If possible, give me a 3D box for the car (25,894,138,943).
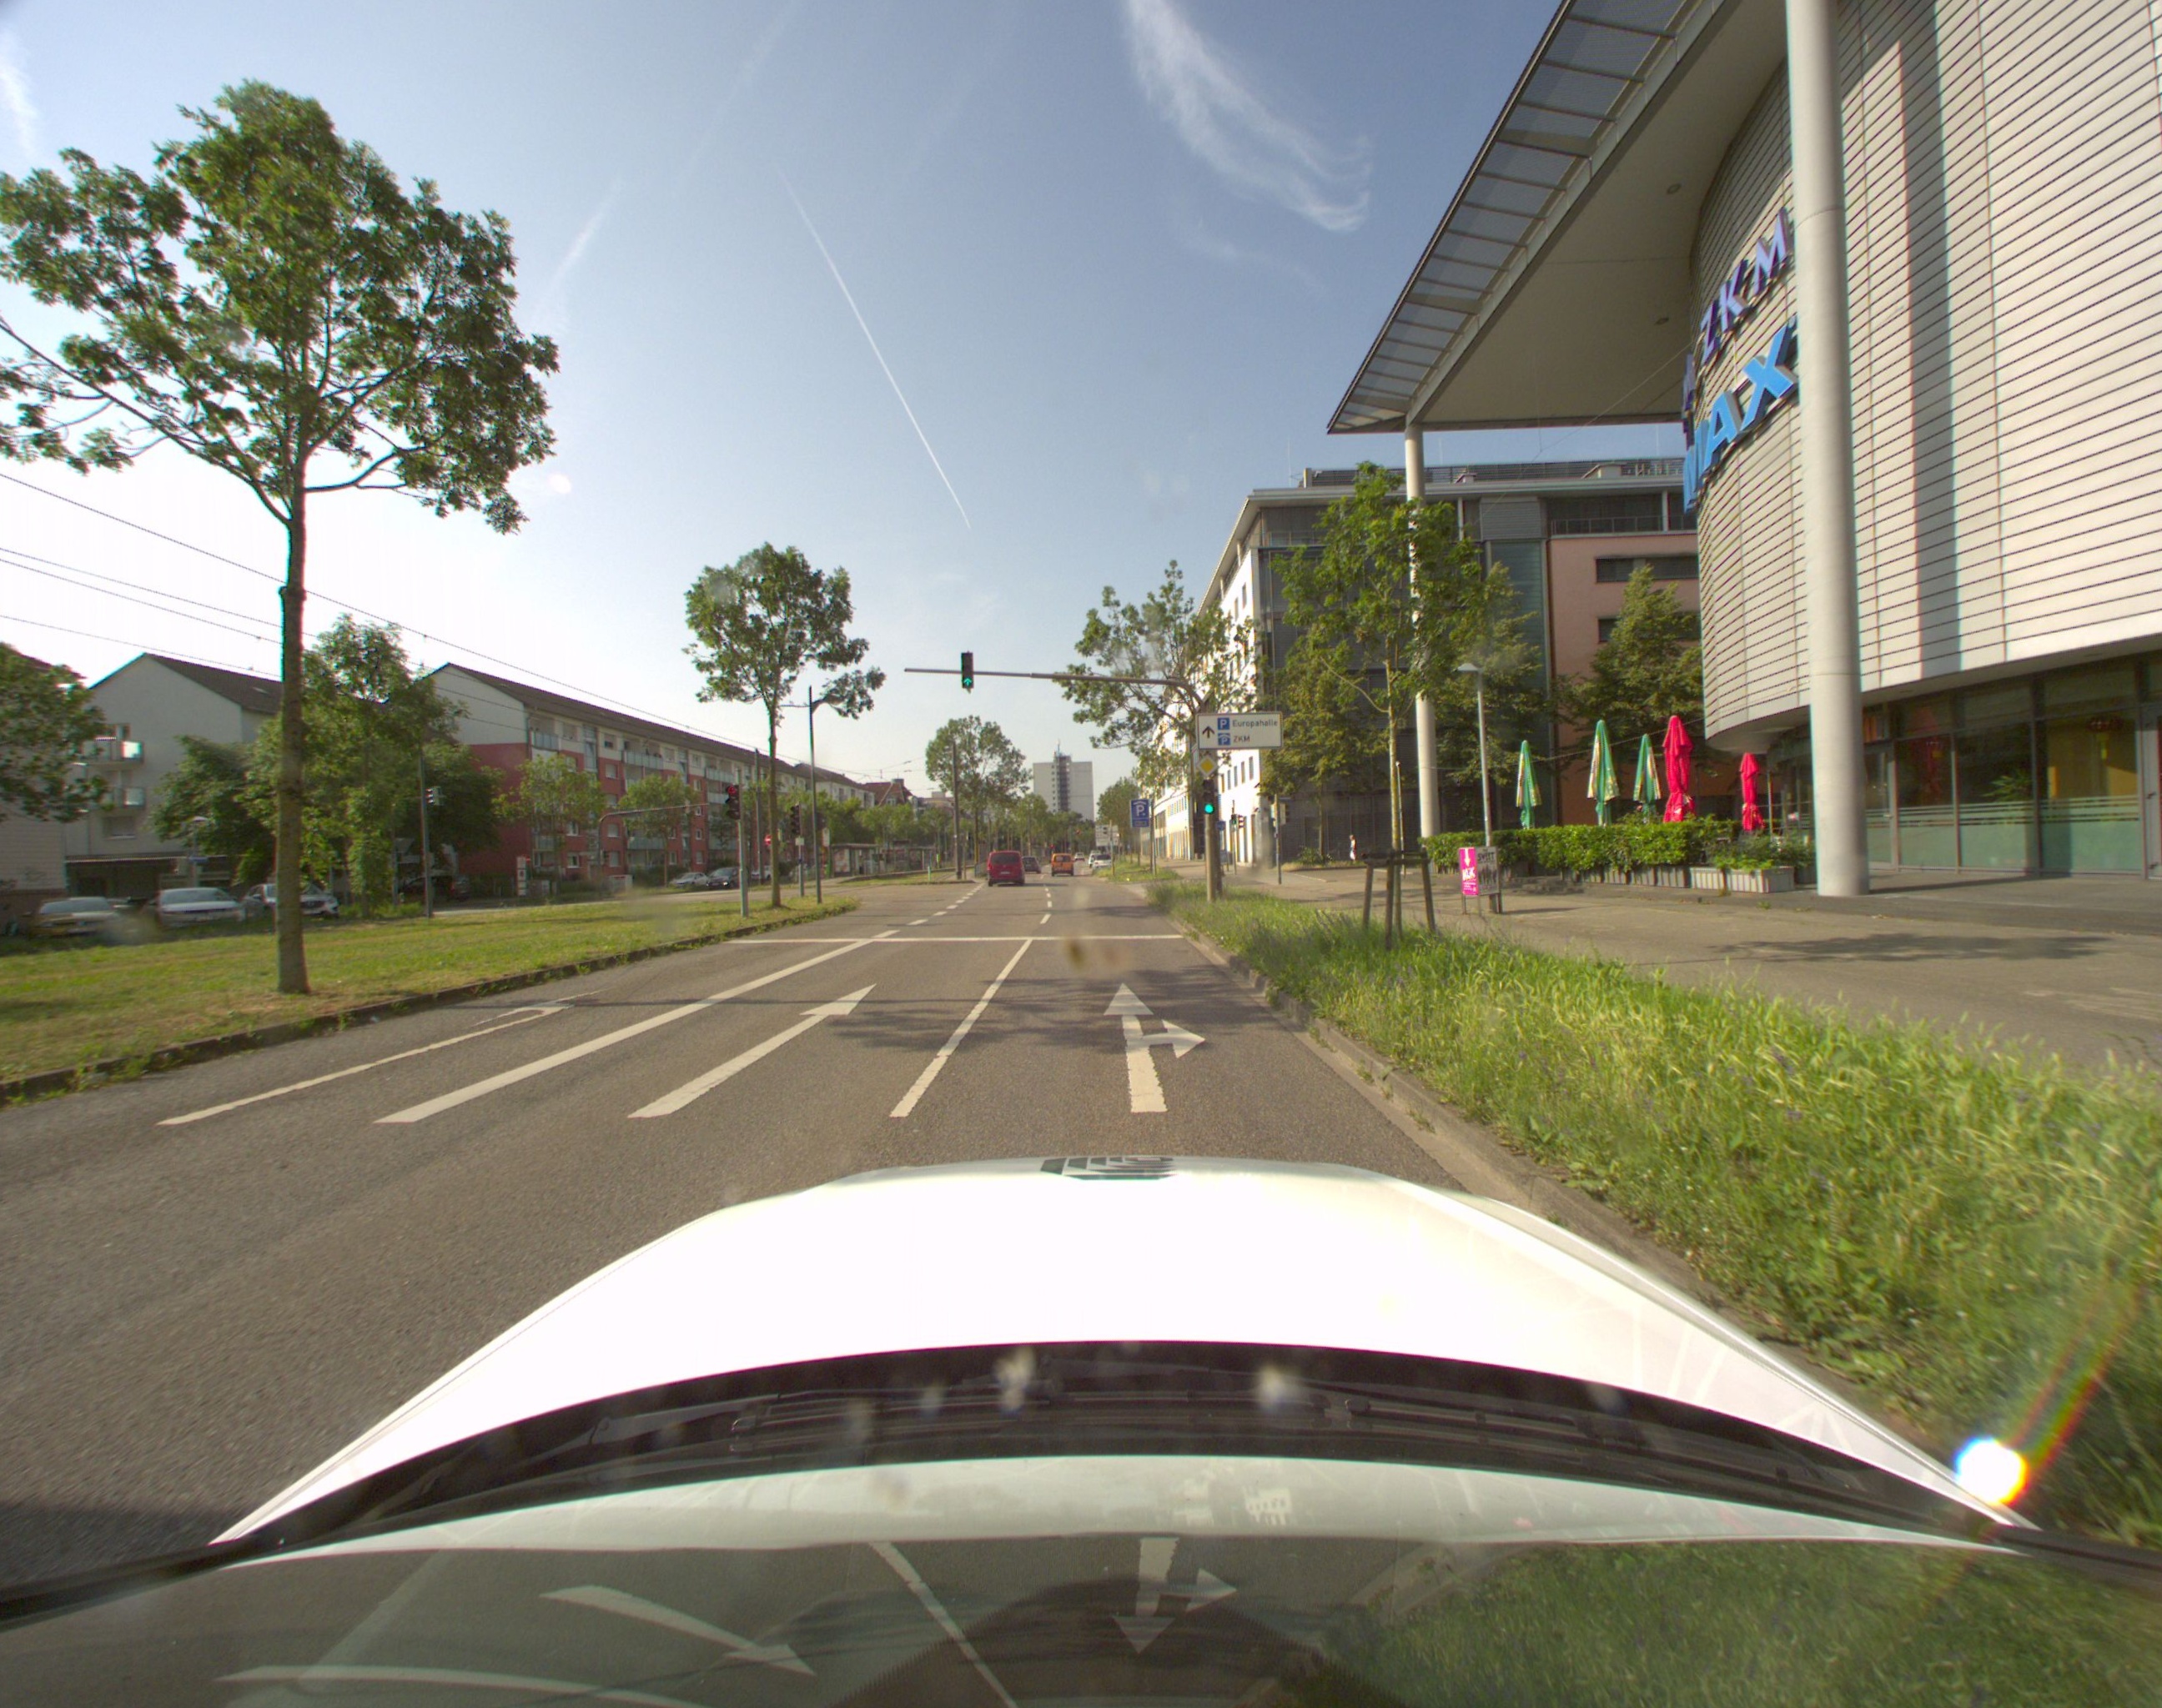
[{"bbox_3d":[-30.364,1.916,24.860,3.949,1.178,2.012,-1,0,42],"label":"car"}]

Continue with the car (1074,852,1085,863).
[{"bbox_3d":[-0.217,0.675,151.784,1.987,2.013,3.999,-2,0,0],"label":"car"}]

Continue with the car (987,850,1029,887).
[{"bbox_3d":[-3.913,0.770,44.276,1.868,1.853,3.999,-2,0,0],"label":"car"}]

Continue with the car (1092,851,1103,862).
[{"bbox_3d":[3.173,0.458,152.954,1.987,2.013,4.000,-2,0,1],"label":"car"}]

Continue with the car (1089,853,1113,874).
[{"bbox_3d":[1.534,0.690,62.954,1.715,1.519,3.780,-2,0,0],"label":"car"}]

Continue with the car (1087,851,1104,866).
[{"bbox_3d":[1.610,0.499,88.976,1.683,1.526,3.851,-4,0,1],"label":"car"}]

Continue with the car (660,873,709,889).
[{"bbox_3d":[-31.312,2.137,64.487,1.827,1.147,4.164,-1,0,0],"label":"car"}]

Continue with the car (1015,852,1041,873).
[{"bbox_3d":[-4.644,0.740,71.862,1.987,1.706,4.000,-2,0,1],"label":"car"}]

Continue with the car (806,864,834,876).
[{"bbox_3d":[-30.529,1.866,95.328,1.974,1.360,4.069,-1,0,0],"label":"car"}]

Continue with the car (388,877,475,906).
[{"bbox_3d":[-41.772,2.394,52.415,3.972,1.695,2.001,-1,0,1],"label":"car"}]

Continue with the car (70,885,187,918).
[{"bbox_3d":[-50.921,2.547,43.591,3.970,1.605,2.001,-1,0,3],"label":"car"}]

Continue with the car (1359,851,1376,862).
[{"bbox_3d":[16.113,0.161,45.811,0.763,0.587,0.498,-2,0,0],"label":"car"}]

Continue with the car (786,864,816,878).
[{"bbox_3d":[-30.941,1.865,90.120,1.974,1.360,4.069,-1,0,0],"label":"car"}]

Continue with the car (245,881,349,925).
[{"bbox_3d":[-29.817,1.814,30.950,4.297,1.463,1.976,-1,0,34],"label":"car"}]

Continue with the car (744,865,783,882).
[{"bbox_3d":[-31.290,1.859,80.358,1.974,1.556,4.536,-1,0,0],"label":"car"}]

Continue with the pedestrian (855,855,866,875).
[{"bbox_3d":[-18.564,0.963,68.666,0.670,1.653,0.793,-2,0,-4],"label":"pedestrian"}]

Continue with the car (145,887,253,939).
[{"bbox_3d":[-29.611,1.913,27.312,4.406,1.514,2.013,-2,0,37],"label":"car"}]

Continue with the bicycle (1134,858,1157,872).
[{"bbox_3d":[3.833,0.655,48.718,1.264,0.632,0.522,-9,-1,7],"label":"bicycle"}]

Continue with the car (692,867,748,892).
[{"bbox_3d":[-27.259,1.891,61.631,1.986,1.706,4.714,-2,0,2],"label":"car"}]

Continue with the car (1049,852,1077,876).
[{"bbox_3d":[-1.360,0.737,62.218,1.869,1.696,3.975,-2,0,1],"label":"car"}]

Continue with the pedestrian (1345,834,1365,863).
[{"bbox_3d":[15.325,-0.303,45.557,0.775,1.616,0.713,-2,0,-1],"label":"pedestrian"}]
